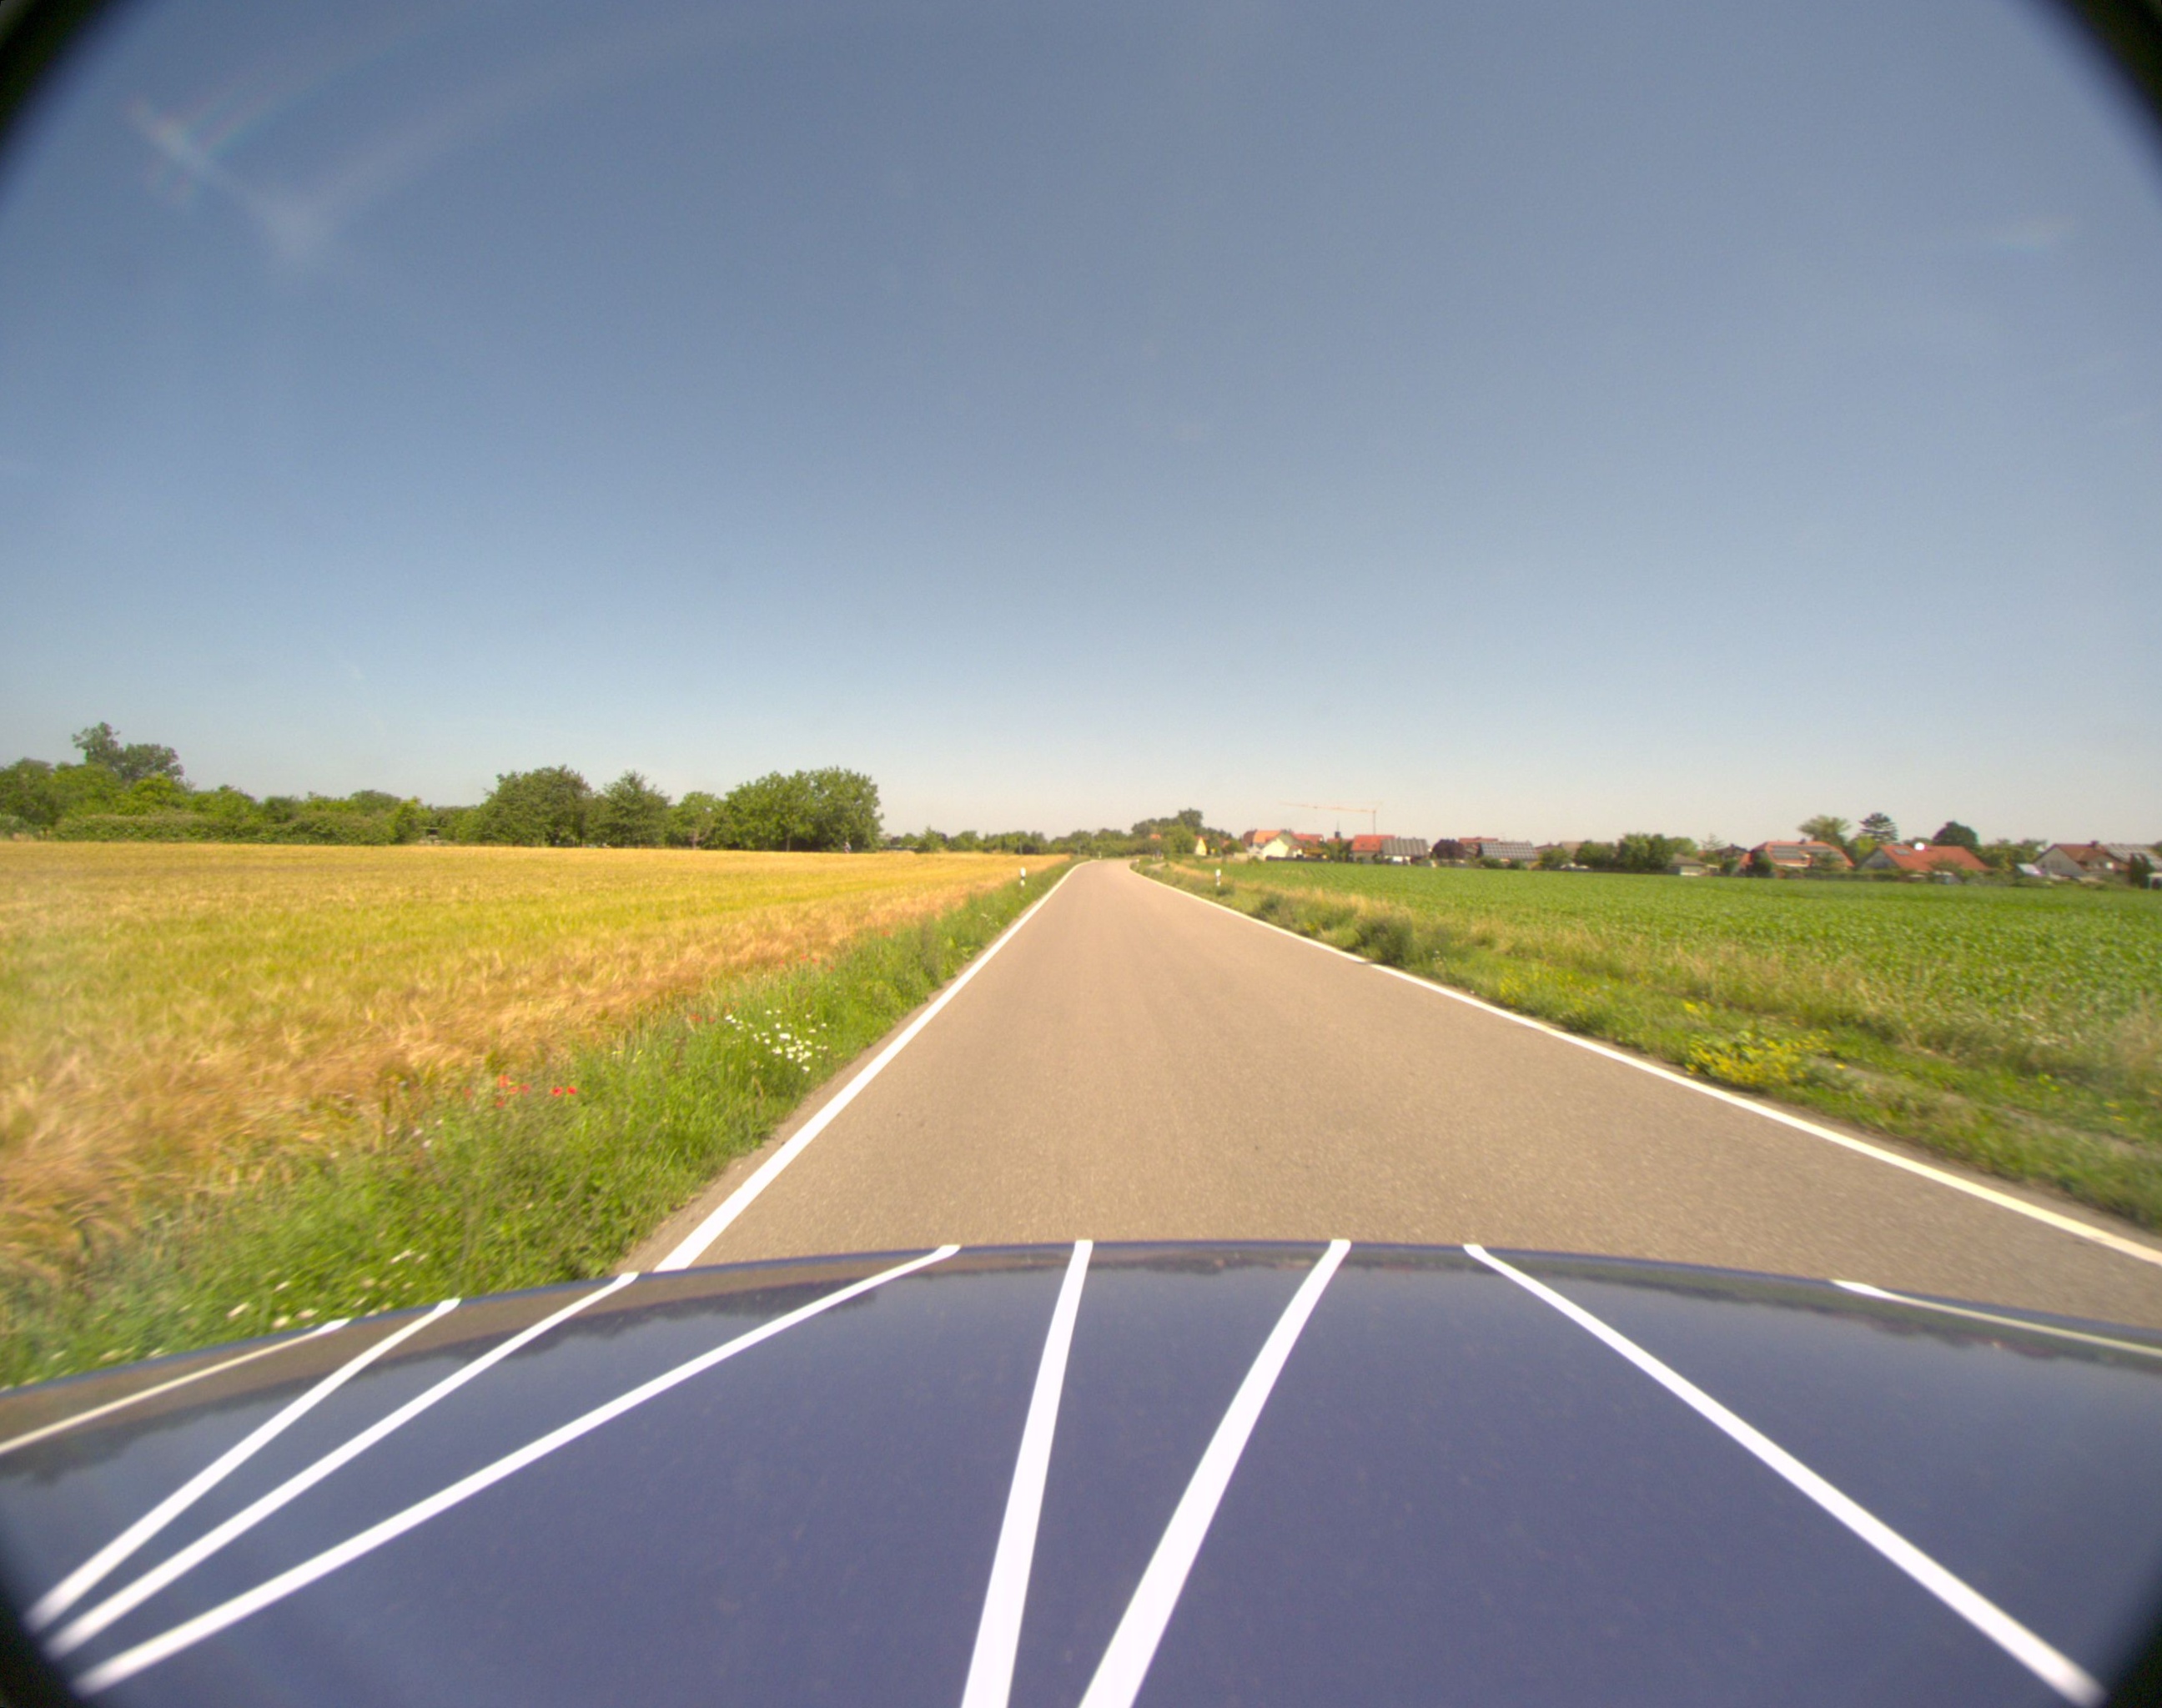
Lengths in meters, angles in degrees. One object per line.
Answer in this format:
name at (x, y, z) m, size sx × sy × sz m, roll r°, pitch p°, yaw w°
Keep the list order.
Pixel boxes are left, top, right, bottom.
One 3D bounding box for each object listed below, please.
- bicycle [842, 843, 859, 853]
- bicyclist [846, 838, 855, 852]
bicycle at (-26.365, -0.701, 86.932) m, size 1.772 × 1.109 × 0.520 m, roll 1°, pitch 2°, yaw -35°
bicyclist at (-26.354, -1.067, 86.923) m, size 0.737 × 1.565 × 0.672 m, roll 1°, pitch 2°, yaw -35°
